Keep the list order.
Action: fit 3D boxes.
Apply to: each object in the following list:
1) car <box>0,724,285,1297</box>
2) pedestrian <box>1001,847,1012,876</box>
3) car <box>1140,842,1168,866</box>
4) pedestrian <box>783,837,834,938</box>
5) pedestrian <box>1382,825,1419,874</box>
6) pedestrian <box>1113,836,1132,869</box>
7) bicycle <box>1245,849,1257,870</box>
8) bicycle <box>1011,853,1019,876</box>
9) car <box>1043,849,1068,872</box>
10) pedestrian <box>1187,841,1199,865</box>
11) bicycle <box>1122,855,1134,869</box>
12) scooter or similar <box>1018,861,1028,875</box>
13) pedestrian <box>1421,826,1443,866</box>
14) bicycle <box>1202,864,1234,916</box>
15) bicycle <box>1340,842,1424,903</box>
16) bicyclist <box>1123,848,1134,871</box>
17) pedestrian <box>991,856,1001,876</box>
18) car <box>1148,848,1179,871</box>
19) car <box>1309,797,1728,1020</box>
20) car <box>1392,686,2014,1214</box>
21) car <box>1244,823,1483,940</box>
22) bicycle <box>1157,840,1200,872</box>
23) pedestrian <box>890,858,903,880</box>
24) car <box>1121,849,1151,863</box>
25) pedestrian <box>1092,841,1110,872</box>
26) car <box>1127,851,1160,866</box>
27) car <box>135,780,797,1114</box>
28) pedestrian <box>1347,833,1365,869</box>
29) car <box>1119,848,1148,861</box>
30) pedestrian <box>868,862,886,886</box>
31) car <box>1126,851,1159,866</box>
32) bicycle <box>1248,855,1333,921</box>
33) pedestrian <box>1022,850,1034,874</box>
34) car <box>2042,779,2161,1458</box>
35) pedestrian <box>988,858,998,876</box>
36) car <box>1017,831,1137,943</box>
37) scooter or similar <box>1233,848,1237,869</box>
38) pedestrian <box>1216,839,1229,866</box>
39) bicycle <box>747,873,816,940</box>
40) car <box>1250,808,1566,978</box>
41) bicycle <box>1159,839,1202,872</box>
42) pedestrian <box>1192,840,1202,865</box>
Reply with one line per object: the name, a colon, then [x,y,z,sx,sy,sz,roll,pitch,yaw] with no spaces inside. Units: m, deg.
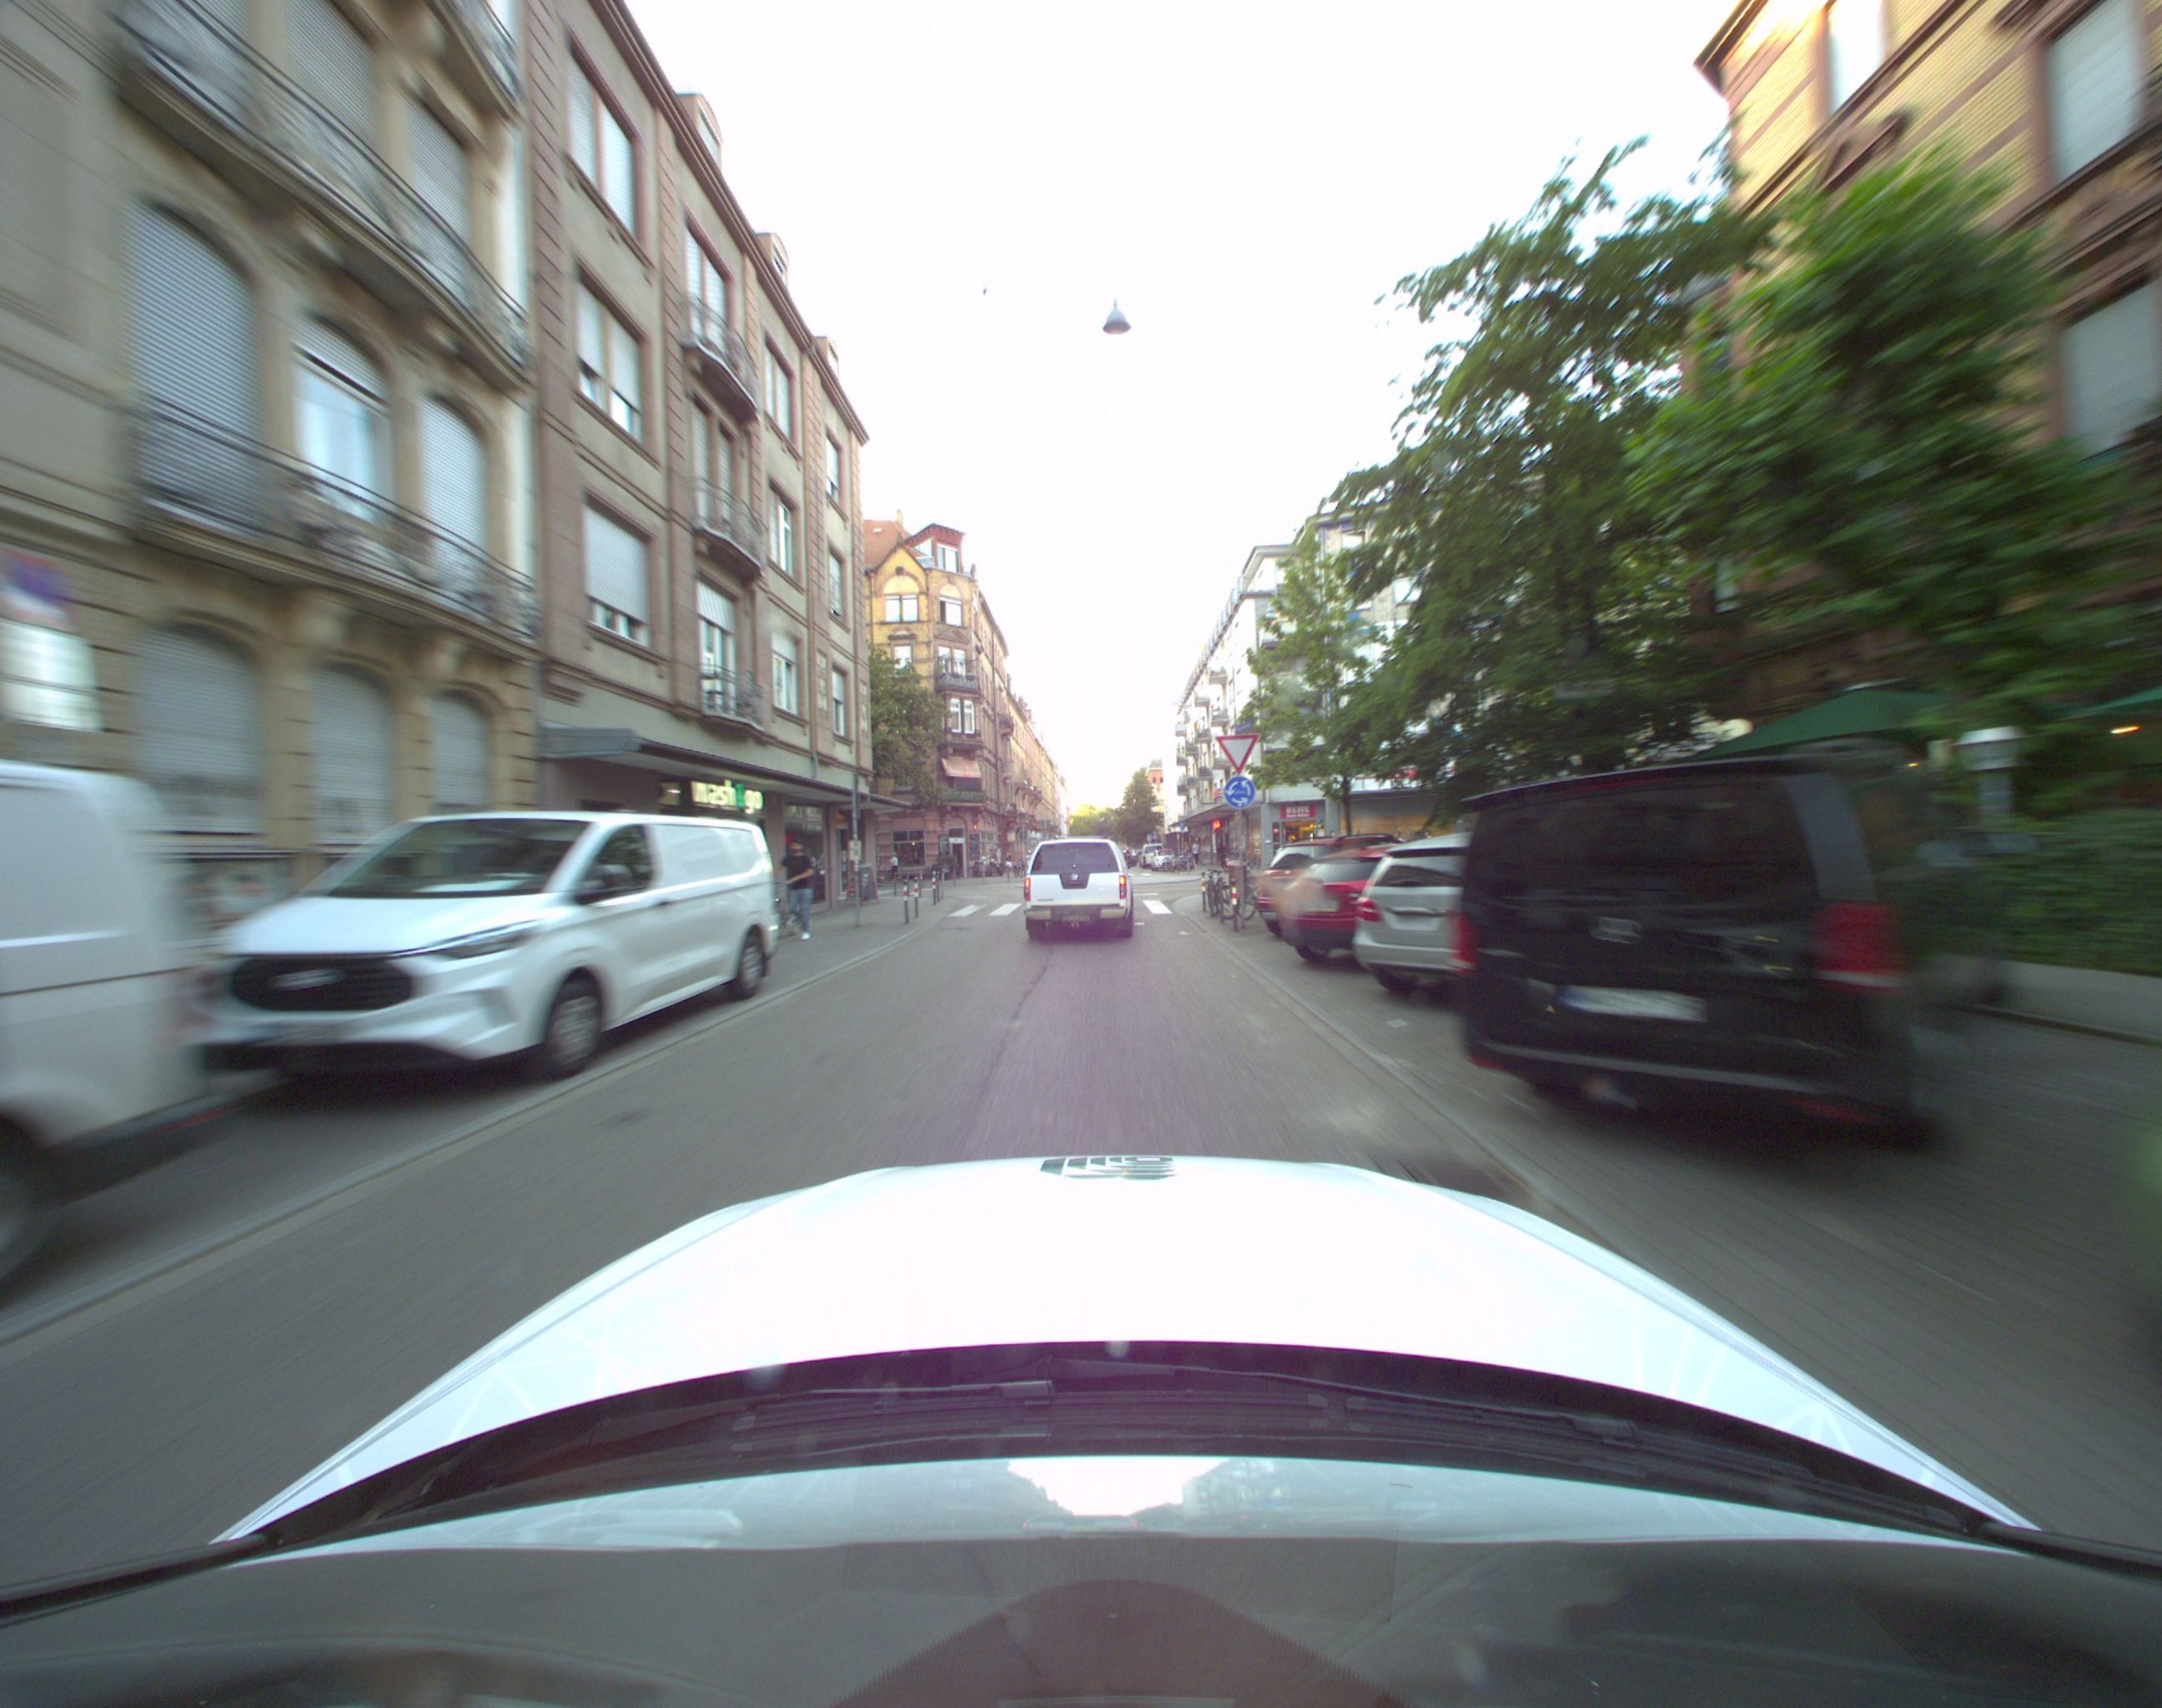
car: [-4.617,0.548,1.263,1.829,1.921,4.848,-2,0,2]
pedestrian: [-4.761,0.473,51.997,0.505,1.840,0.569,0,-1,-21]
car: [6.001,0.005,67.351,1.936,1.934,4.000,-1,0,1]
pedestrian: [-5.052,0.607,15.144,0.534,1.823,0.998,-1,-1,5]
pedestrian: [11.850,-0.155,30.231,0.868,1.770,0.943,0,-1,-18]
pedestrian: [2.395,-0.077,46.778,0.909,1.885,0.610,0,-1,-30]
bicycle: [9.423,0.302,45.149,0.289,1.112,0.962,0,-1,-11]
bicycle: [-4.218,0.670,52.286,0.423,1.442,1.902,-1,-1,-3]
car: [-1.989,0.516,64.971,1.828,1.750,4.000,-1,0,1]
pedestrian: [7.683,-0.056,55.917,0.717,1.663,0.703,-1,-1,1]
bicycle: [3.921,0.638,67.829,0.833,1.171,1.940,-1,-1,7]
scooter or similar: [-3.873,0.953,54.178,0.234,0.929,1.256,0,-1,-23]
pedestrian: [15.594,-0.348,36.176,0.658,1.726,0.726,-1,-1,45]
bicycle: [2.951,0.760,17.622,0.363,1.063,1.551,-1,-1,-2]
bicycle: [6.703,0.399,18.214,0.601,1.288,1.704,-2,0,-35]
bicyclist: [3.929,0.442,67.910,0.833,1.944,0.786,-1,-1,7]
pedestrian: [-5.655,0.791,54.091,0.647,1.286,0.539,-1,-1,-3]
car: [5.899,0.398,58.565,1.828,1.542,4.000,-1,0,1]
car: [4.613,0.383,8.433,4.240,1.622,1.914,-5,1,-32]
car: [4.615,0.214,5.596,5.463,2.072,1.912,-5,1,-37]
car: [4.974,0.390,14.200,4.062,1.627,1.676,-4,1,-31]
bicycle: [6.200,0.108,51.897,2.637,2.014,0.638,-1,-1,2]
pedestrian: [-10.631,0.873,46.846,0.451,1.262,0.578,-1,-1,26]
car: [7.472,0.294,110.738,3.974,1.750,1.840,-1,-1,0]
pedestrian: [1.113,0.152,45.308,0.608,1.736,0.912,-1,-1,35]
car: [7.548,0.537,98.671,3.974,1.750,1.840,-1,-1,0]
car: [-4.526,0.547,7.356,2.102,1.921,5.025,-2,0,0]
pedestrian: [12.880,-0.136,38.084,0.709,1.652,0.717,-1,-1,23]
car: [7.333,0.111,113.807,3.974,1.750,1.840,-1,-1,0]
pedestrian: [-11.020,1.068,44.043,0.751,1.262,0.668,-1,-1,0]
car: [7.552,0.554,100.909,3.974,1.750,1.840,-1,-1,0]
bicycle: [4.023,0.648,15.660,1.549,1.161,0.363,-3,0,-13]
pedestrian: [-3.626,0.520,55.687,0.795,1.621,0.944,-1,-1,-1]
car: [4.616,0.459,2.258,4.122,1.551,1.801,-5,1,-30]
pedestrian: [-5.716,0.830,52.905,0.647,1.191,0.539,-1,-1,-3]
car: [0.089,0.492,15.912,1.930,1.810,5.006,-1,1,4]
scooter or similar: [9.311,0.247,49.298,0.218,1.237,0.969,-1,1,9]
pedestrian: [8.942,-0.106,51.359,0.717,1.663,0.703,-1,-1,3]
bicycle: [-5.566,0.947,15.231,0.469,1.142,1.787,-1,-1,5]
car: [4.469,0.387,10.870,4.245,1.688,1.912,-5,1,-37]
bicycle: [6.217,0.101,51.082,2.637,2.014,0.638,-1,-1,2]
pedestrian: [8.896,-0.137,62.442,0.717,1.906,0.703,-1,-1,1]
